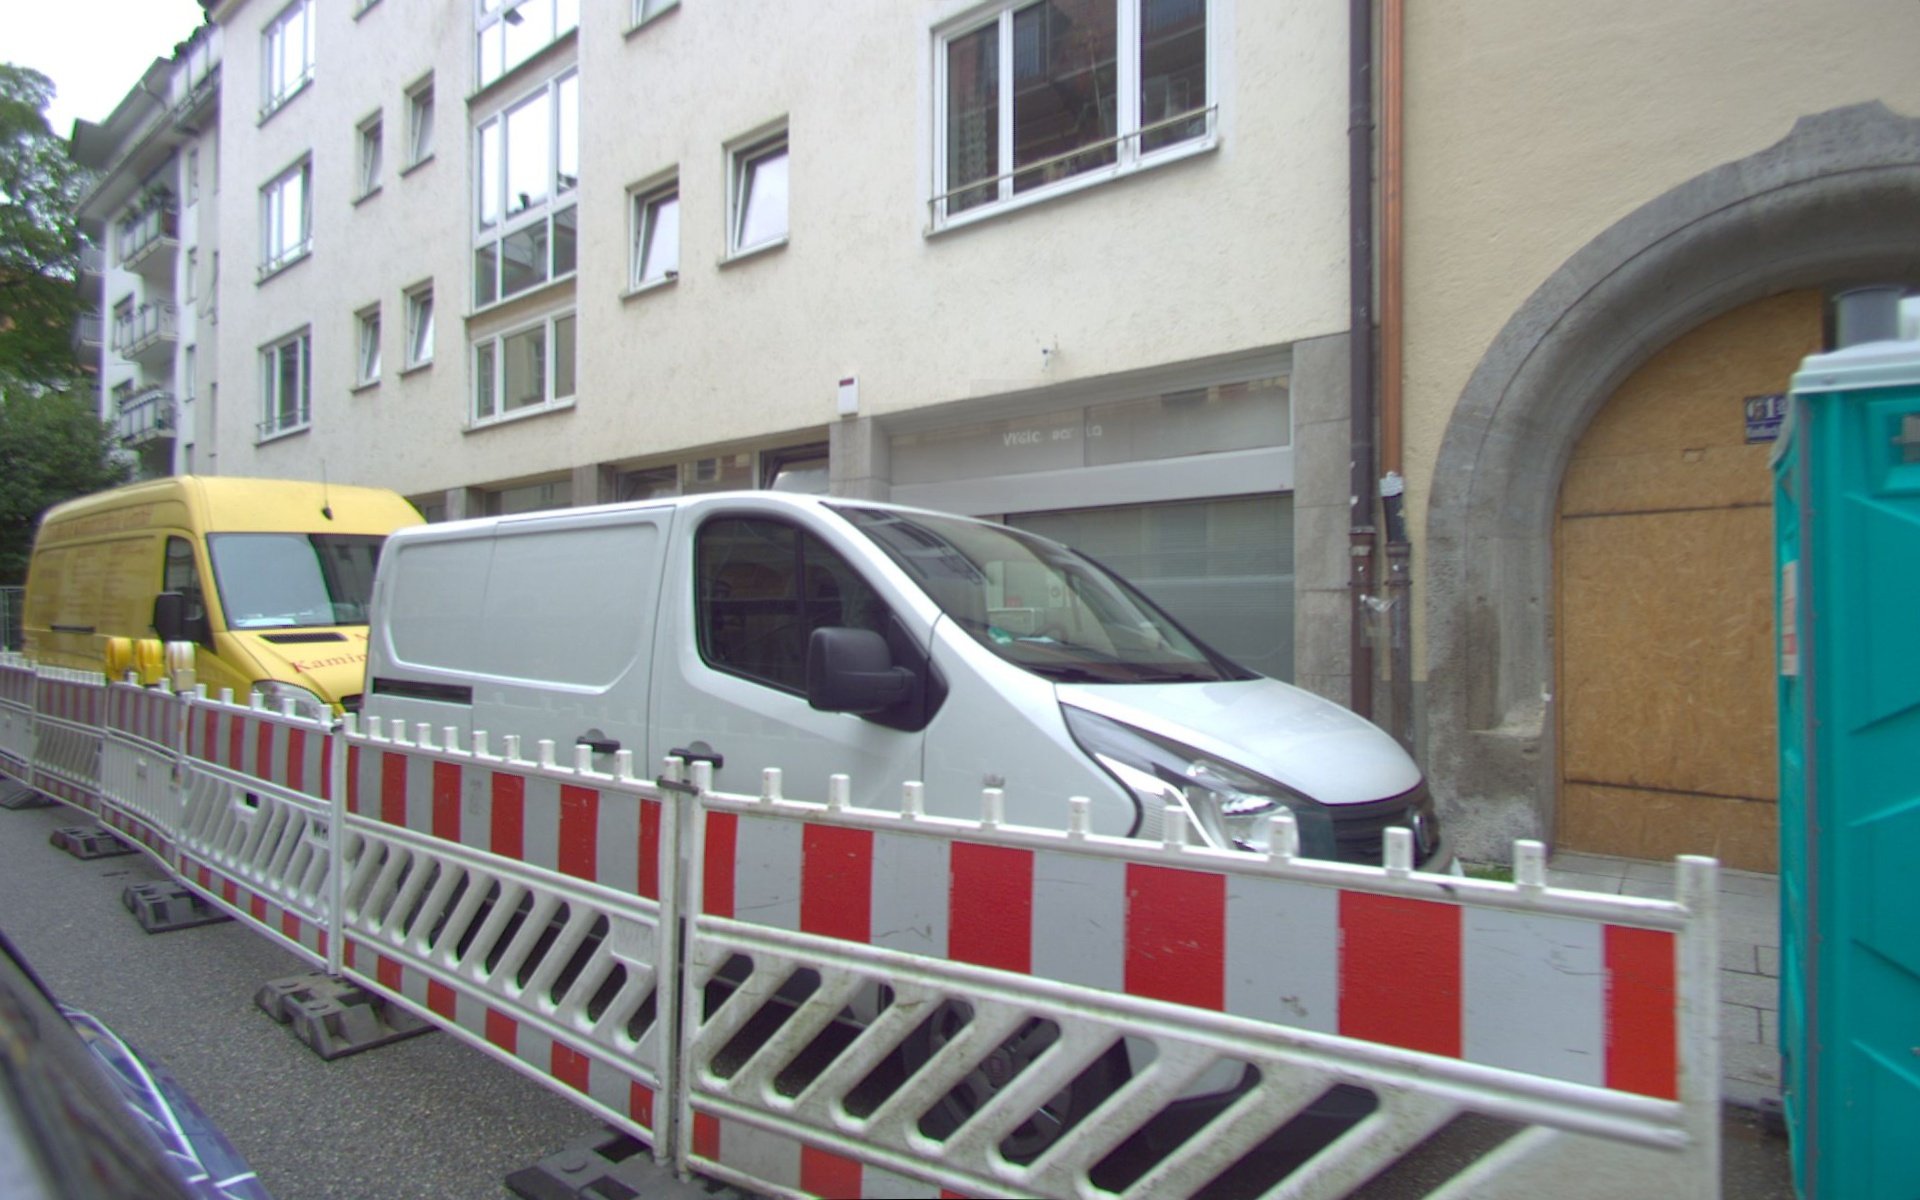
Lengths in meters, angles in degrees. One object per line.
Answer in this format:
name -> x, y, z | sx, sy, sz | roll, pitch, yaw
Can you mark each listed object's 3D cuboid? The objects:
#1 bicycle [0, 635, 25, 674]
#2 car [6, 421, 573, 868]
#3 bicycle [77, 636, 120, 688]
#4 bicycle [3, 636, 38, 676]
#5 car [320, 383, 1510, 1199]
bicycle -> -26.854, 1.525, 28.559 | 1.852, 0.986, 0.439 | 0, 2, 40
car -> -6.128, 0.333, 8.729 | 6.726, 2.598, 1.975 | -1, -3, 38
bicycle -> -19.160, 1.361, 22.502 | 1.596, 1.071, 0.373 | -1, 4, 39
bicycle -> -25.413, 1.507, 27.377 | 1.814, 0.986, 0.439 | 0, 2, 40
car -> -0.563, 0.600, 4.193 | 4.782, 1.912, 1.899 | -1, -4, 37
